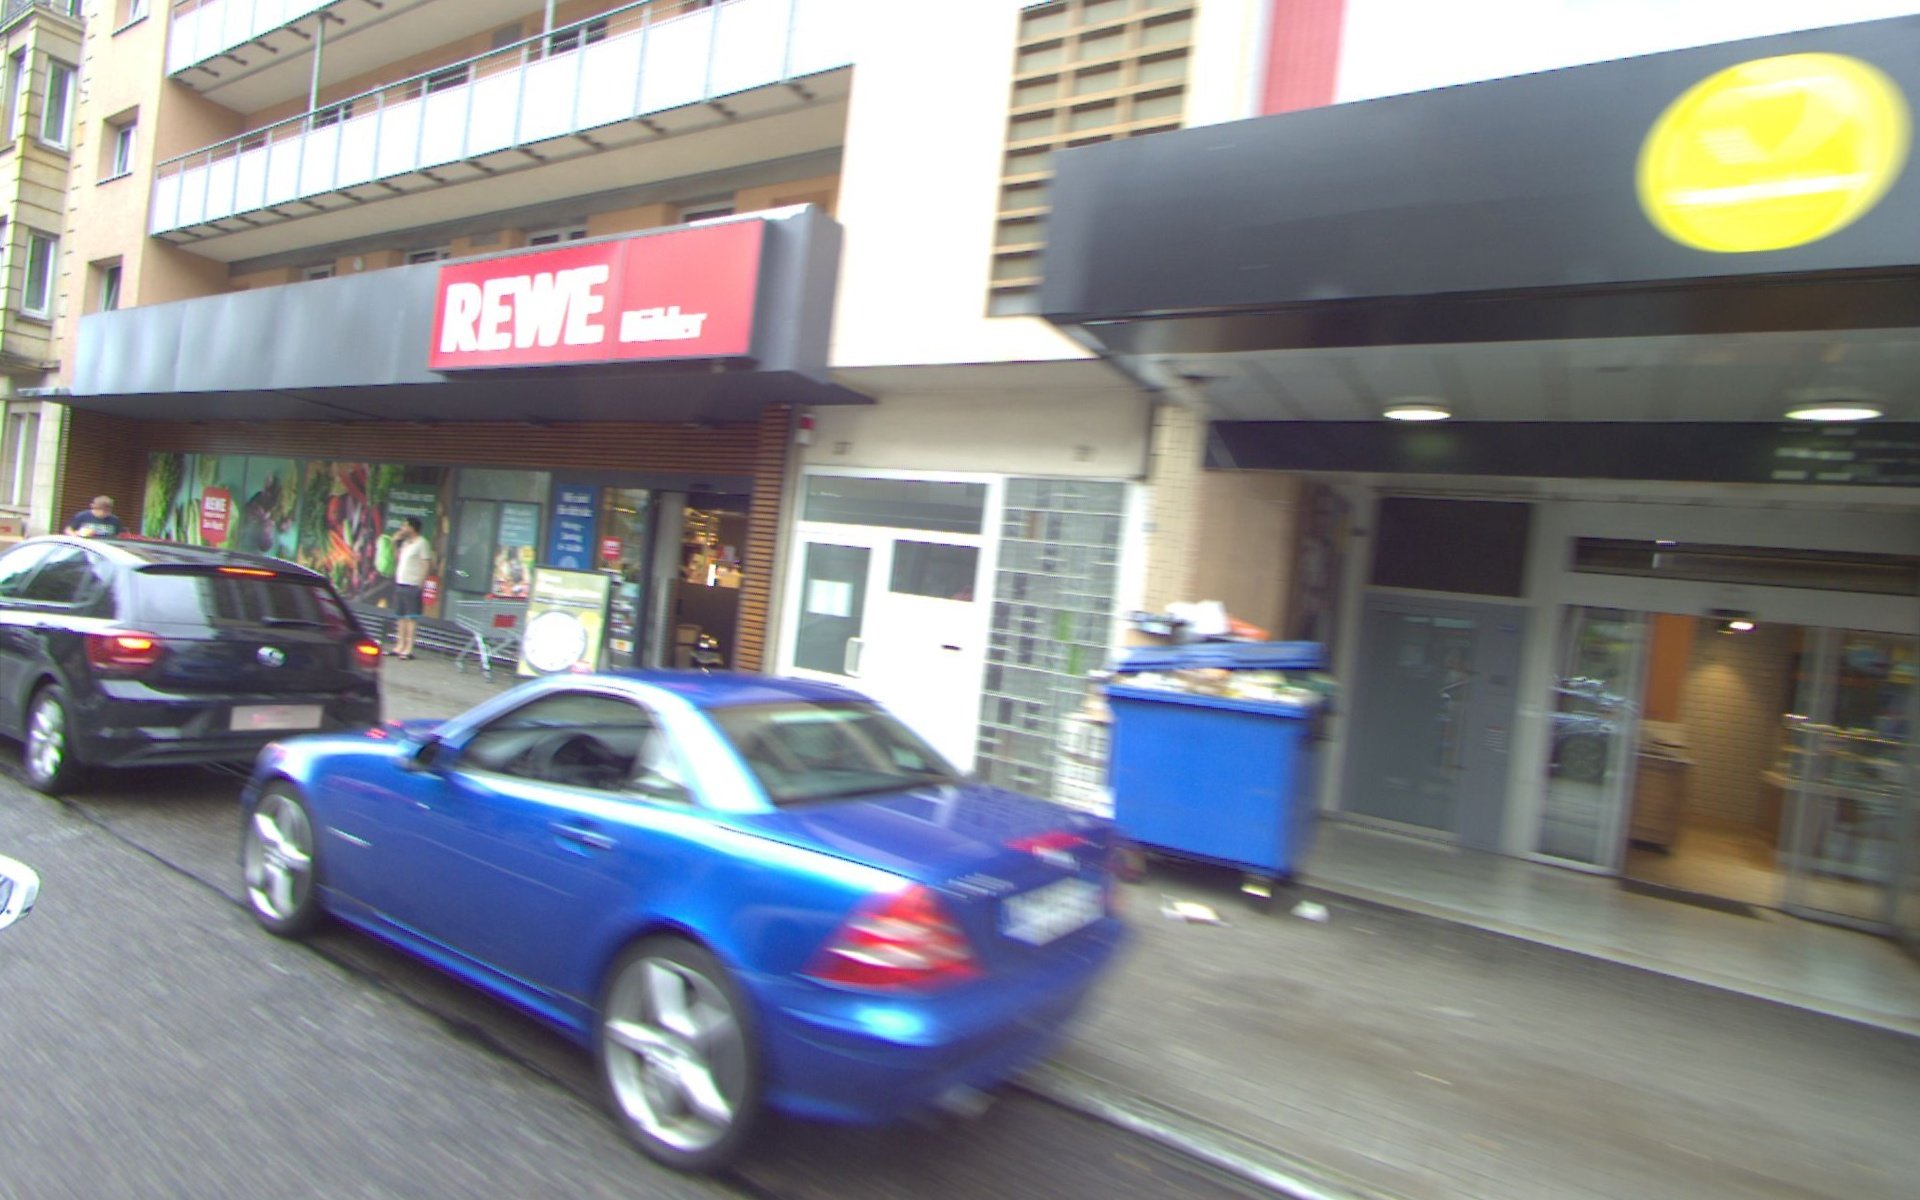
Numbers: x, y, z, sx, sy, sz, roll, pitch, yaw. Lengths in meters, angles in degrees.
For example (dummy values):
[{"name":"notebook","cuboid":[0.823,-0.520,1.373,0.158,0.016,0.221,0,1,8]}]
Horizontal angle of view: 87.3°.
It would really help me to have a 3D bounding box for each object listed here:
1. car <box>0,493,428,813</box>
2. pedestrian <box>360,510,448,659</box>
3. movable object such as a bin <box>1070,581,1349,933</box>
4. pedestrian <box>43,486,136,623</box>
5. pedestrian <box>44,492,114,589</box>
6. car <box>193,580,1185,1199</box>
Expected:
[{"name":"car","cuboid":[-5.674,0.196,6.902,3.916,1.565,1.733,7,-2,33]},{"name":"pedestrian","cuboid":[-7.348,-0.200,13.299,0.716,1.881,0.596,6,0,35]},{"name":"movable object such as a bin","cuboid":[1.548,0.873,6.174,1.274,1.815,1.000,6,0,30]},{"name":"pedestrian","cuboid":[-11.570,-0.602,13.371,0.736,1.672,0.626,10,2,34]},{"name":"pedestrian","cuboid":[-15.484,-1.032,17.689,0.615,1.592,0.563,7,0,16]},{"name":"car","cuboid":[-1.242,0.813,4.027,3.707,1.325,1.736,6,-1,34]}]
